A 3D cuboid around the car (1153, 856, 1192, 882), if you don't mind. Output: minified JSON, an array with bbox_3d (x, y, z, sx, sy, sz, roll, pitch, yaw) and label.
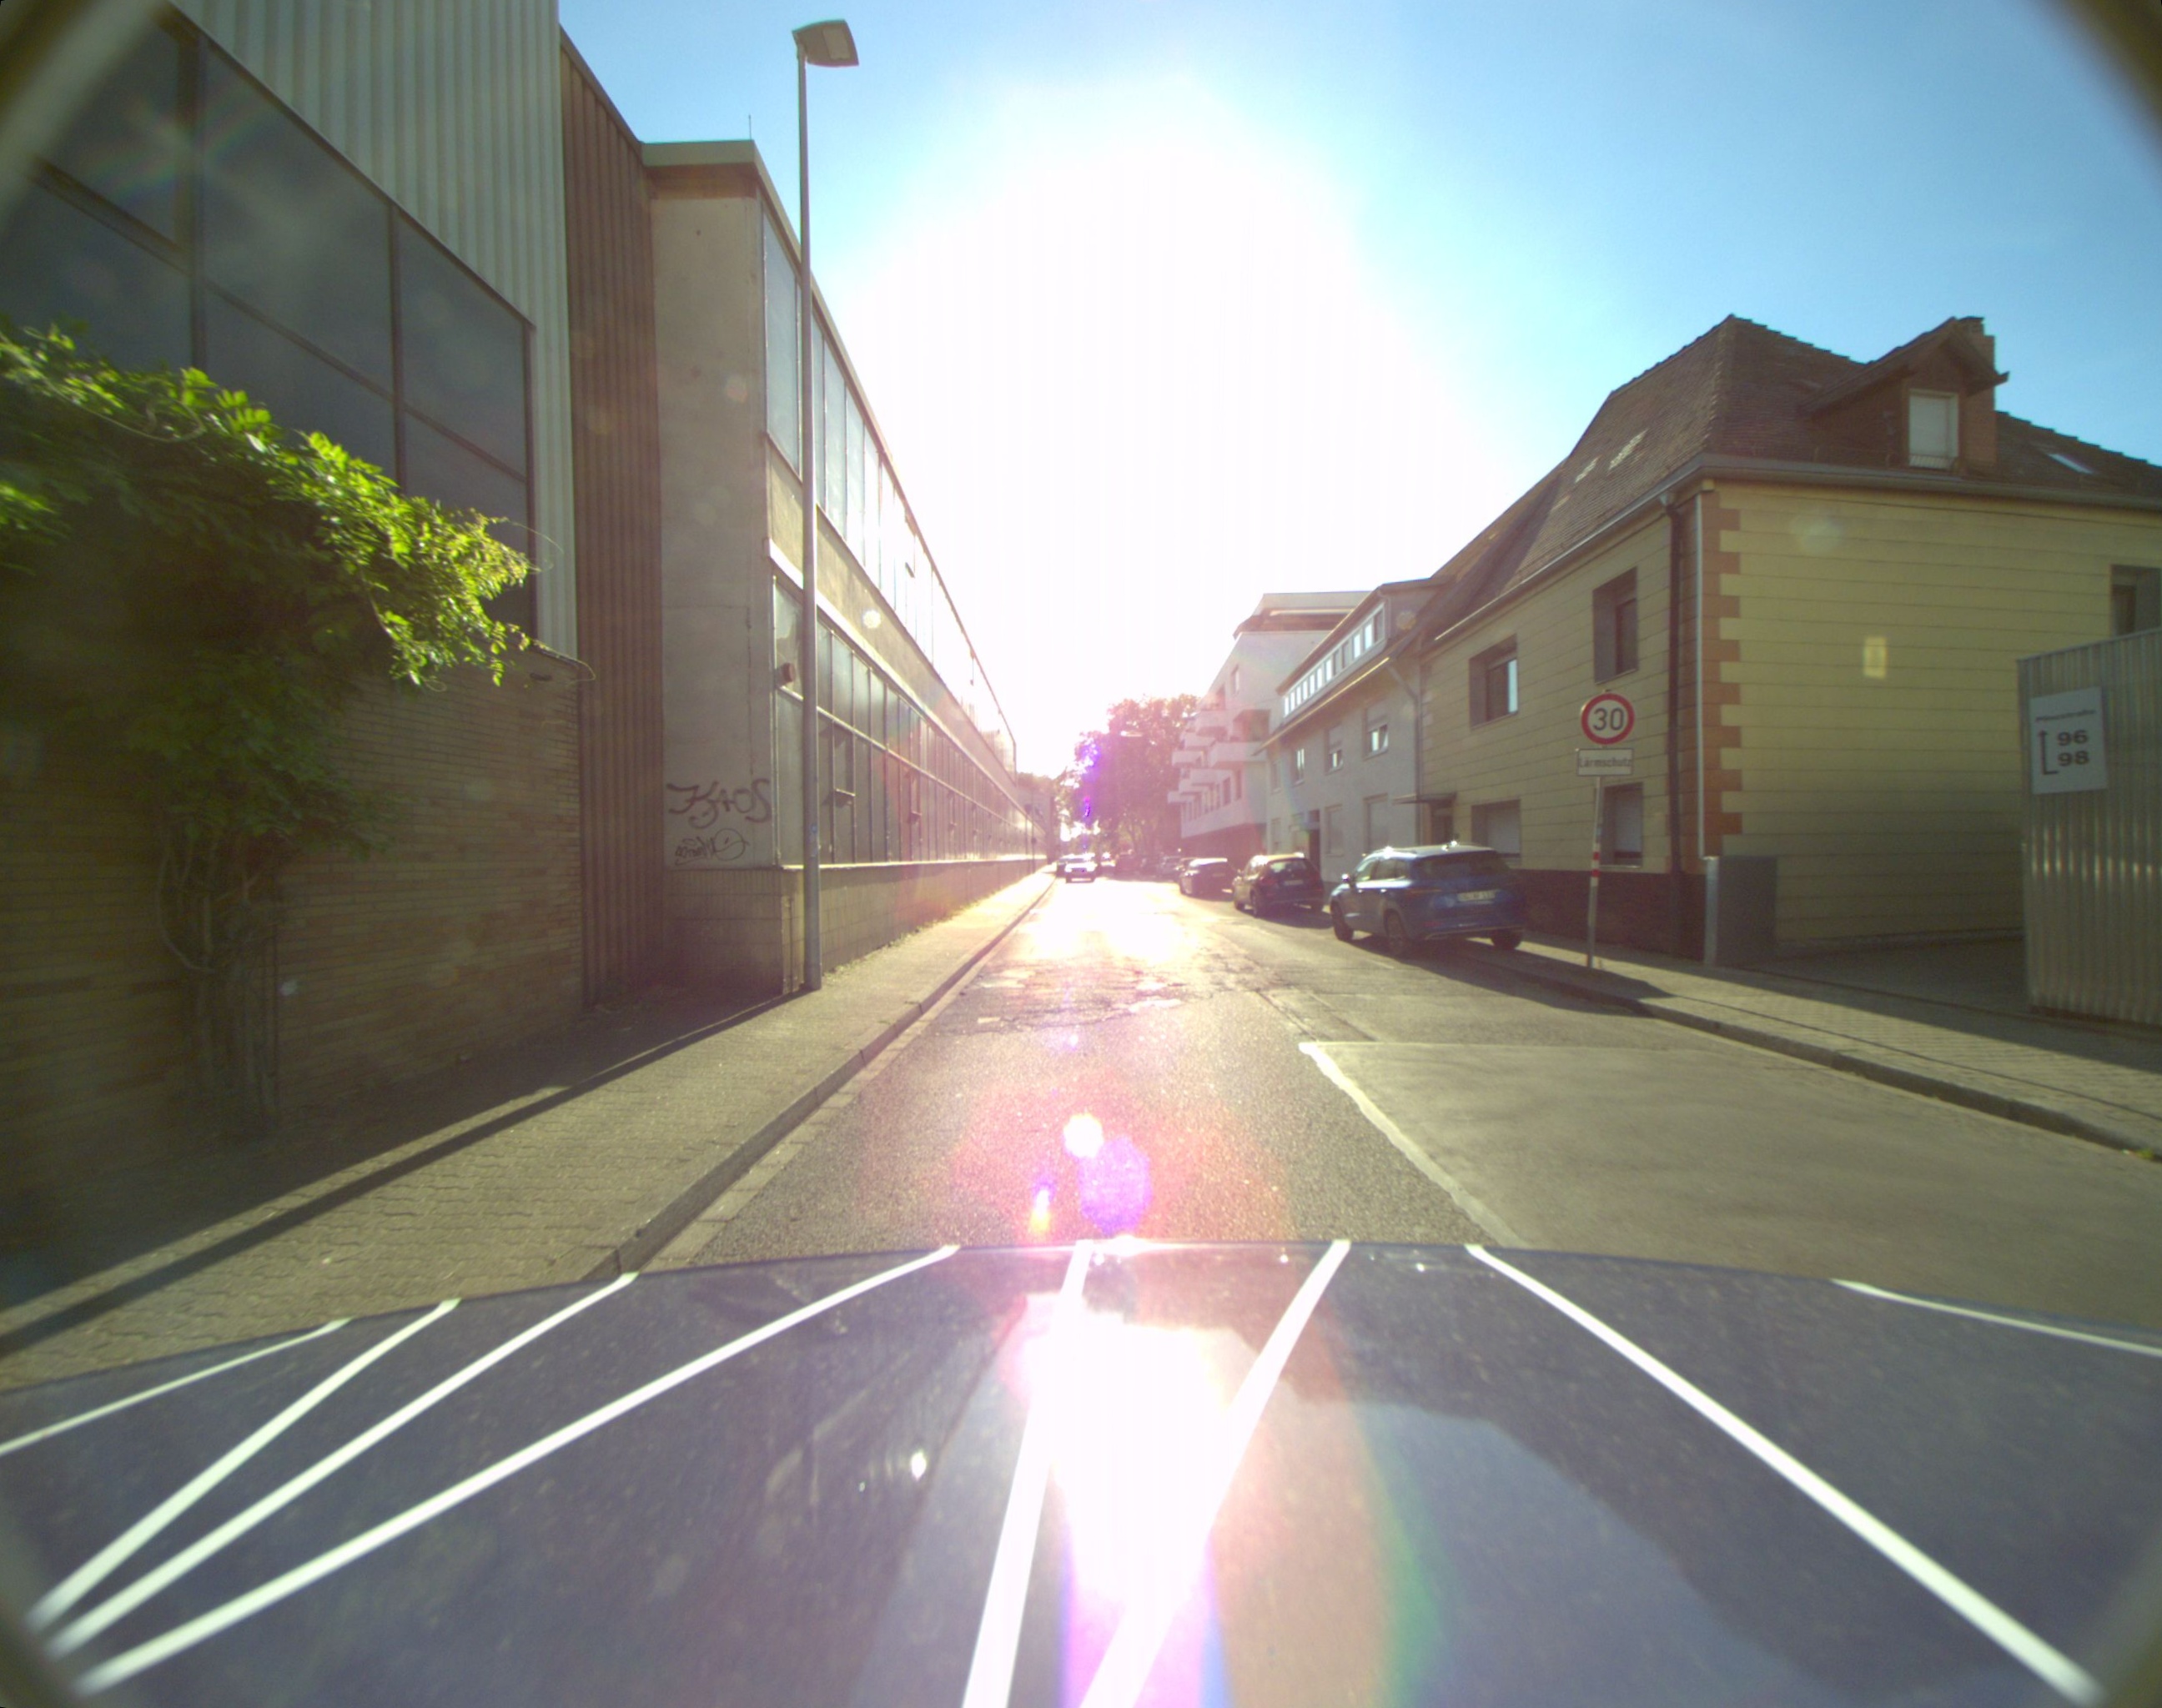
[{"bbox_3d":[6.451,1.030,53.912,1.863,1.578,4.619,-5,1,-3],"label":"car"}]

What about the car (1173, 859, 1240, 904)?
[{"bbox_3d":[5.070,1.058,31.246,1.689,1.526,4.332,-5,1,-3],"label":"car"}]

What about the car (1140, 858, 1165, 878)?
[{"bbox_3d":[6.115,1.180,65.374,1.679,1.425,3.769,-5,1,-1],"label":"car"}]

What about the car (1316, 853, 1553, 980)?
[{"bbox_3d":[5.430,0.874,12.375,1.813,1.577,4.193,-5,-1,0],"label":"car"}]

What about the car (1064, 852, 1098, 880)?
[{"bbox_3d":[-0.033,0.726,48.927,1.855,1.527,3.855,-5,1,-3],"label":"car"}]

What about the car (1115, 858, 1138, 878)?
[{"bbox_3d":[3.796,1.155,63.730,1.846,1.482,4.144,0,1,2],"label":"car"}]

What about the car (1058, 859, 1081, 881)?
[{"bbox_3d":[-1.004,1.346,66.061,1.812,1.578,4.403,-5,1,-2],"label":"car"}]

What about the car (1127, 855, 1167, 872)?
[{"bbox_3d":[7.359,1.075,84.671,3.965,1.653,1.696,-4,1,-28],"label":"car"}]

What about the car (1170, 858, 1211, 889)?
[{"bbox_3d":[6.362,1.117,44.558,1.672,1.527,3.856,-5,1,-1],"label":"car"}]

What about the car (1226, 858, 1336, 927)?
[{"bbox_3d":[5.414,0.971,21.137,1.862,1.577,4.336,-5,0,1],"label":"car"}]

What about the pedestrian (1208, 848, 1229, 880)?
[{"bbox_3d":[8.593,0.611,47.298,0.862,1.808,1.133,-6,0,24],"label":"pedestrian"}]
